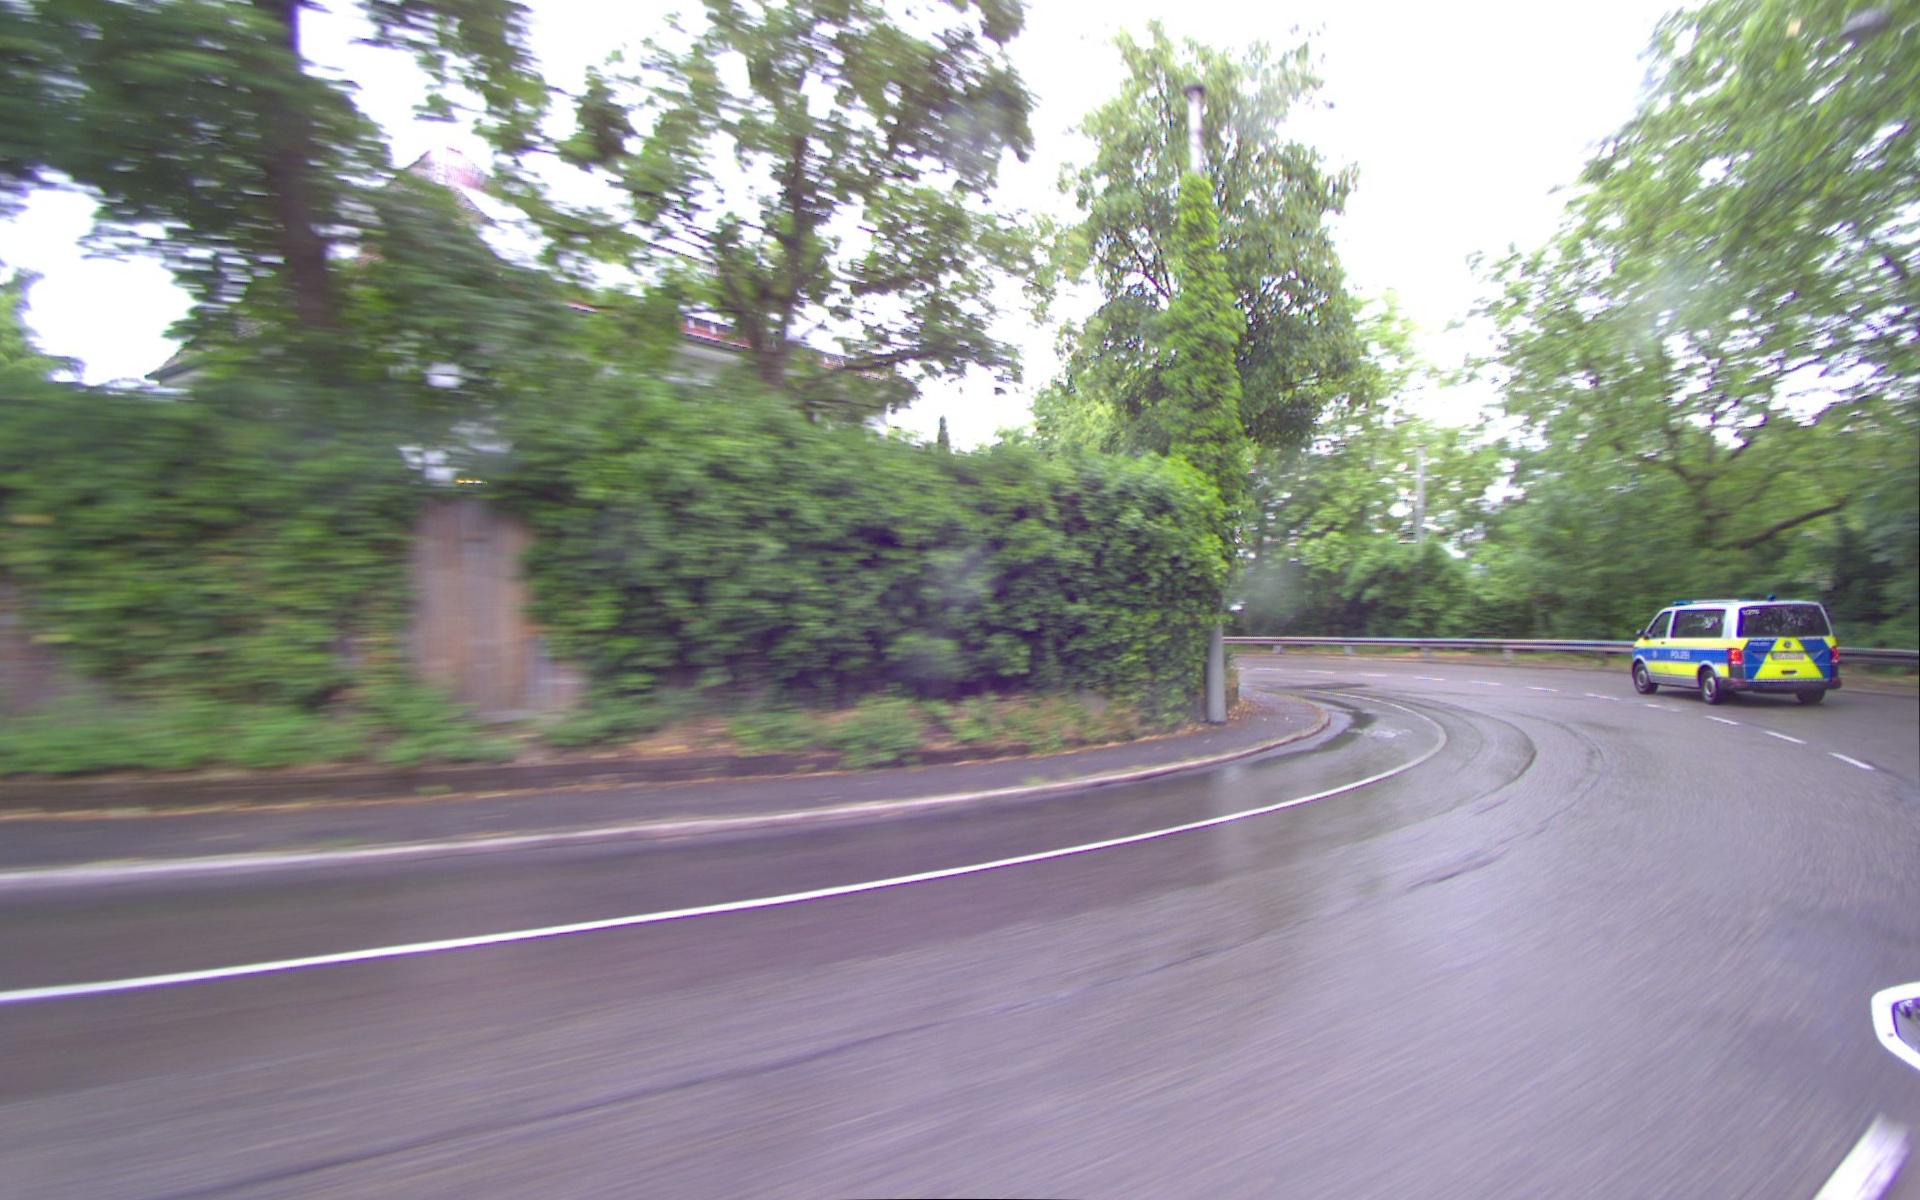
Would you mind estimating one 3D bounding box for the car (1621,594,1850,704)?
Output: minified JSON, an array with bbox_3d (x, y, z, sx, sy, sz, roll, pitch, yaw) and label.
[{"bbox_3d":[15.629,0.967,20.611,1.960,1.918,4.573,-3,-2,14],"label":"car"}]
